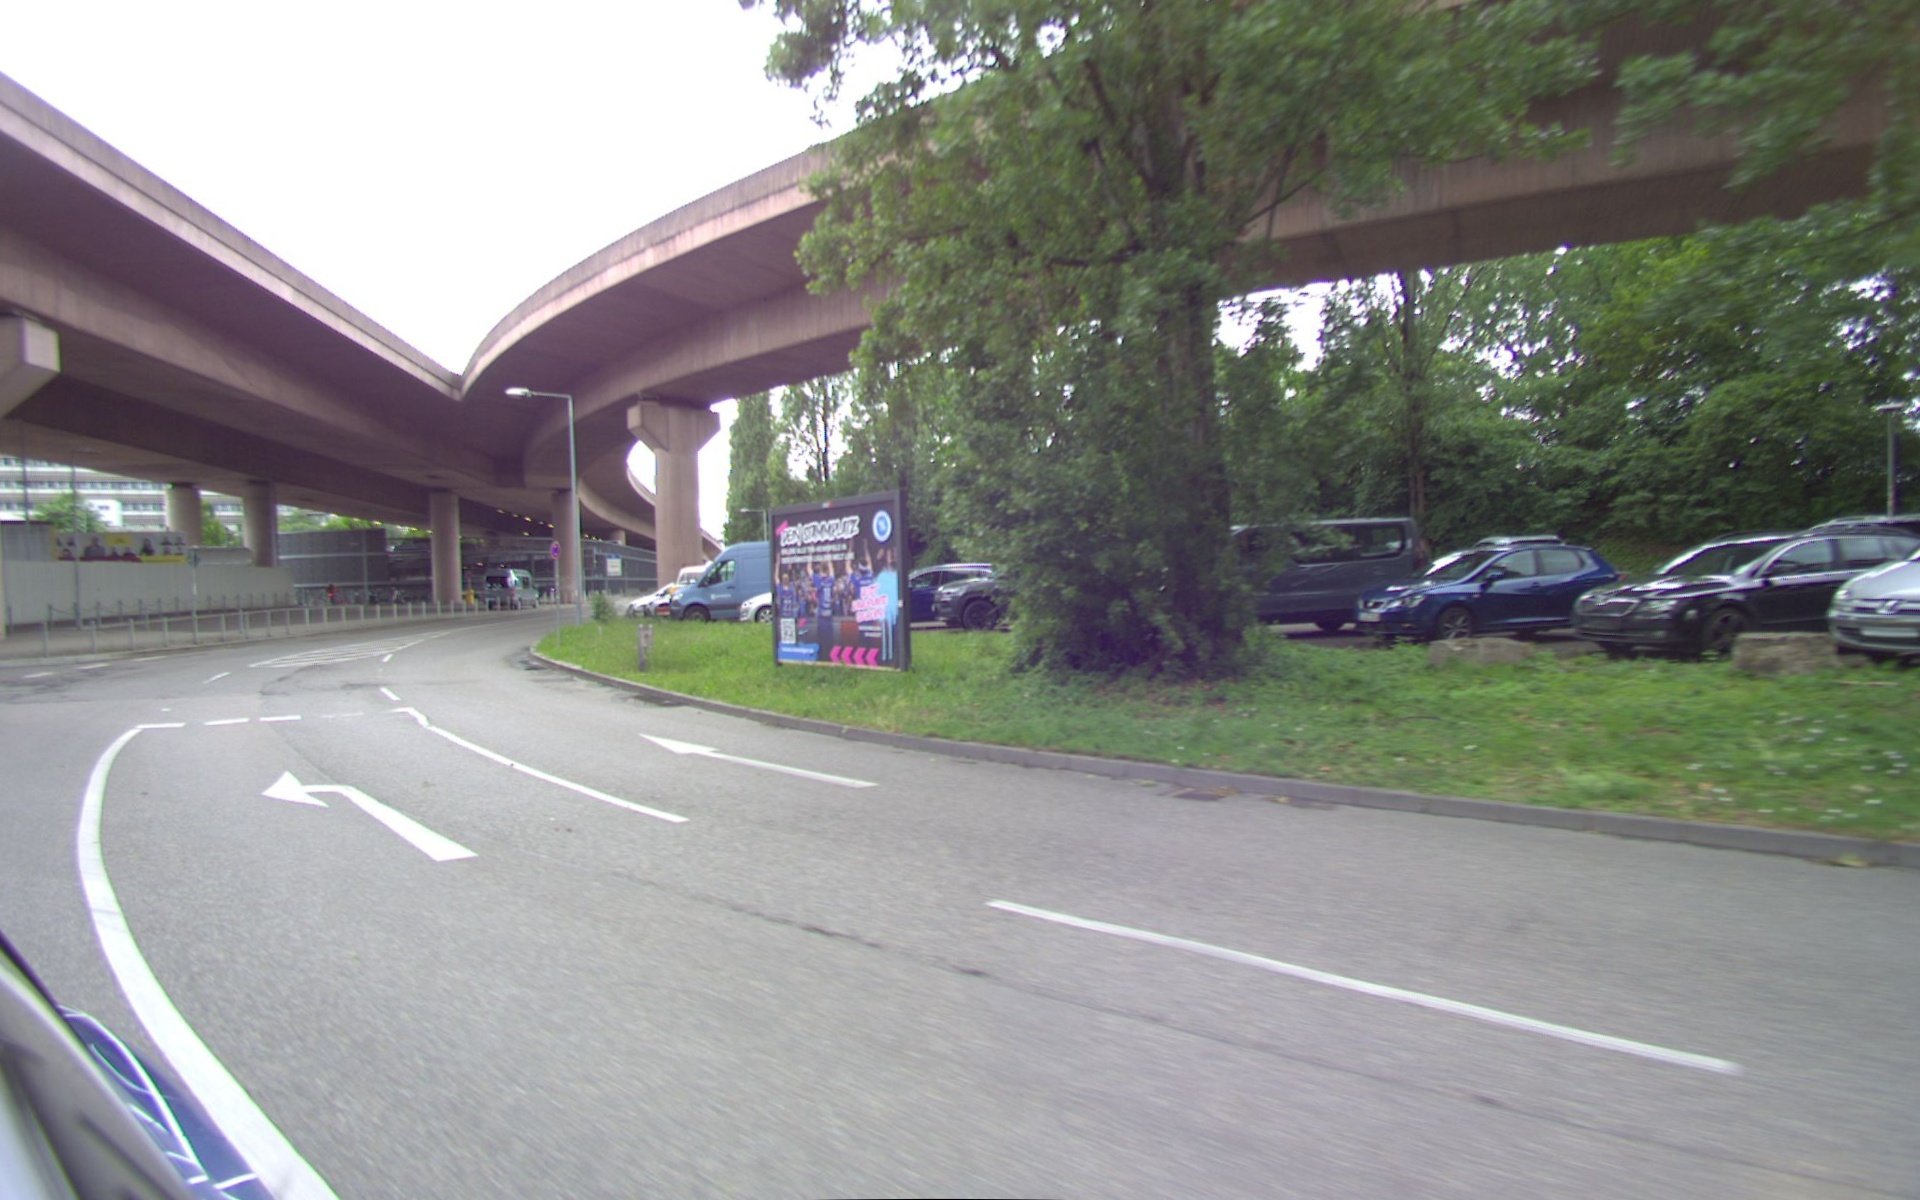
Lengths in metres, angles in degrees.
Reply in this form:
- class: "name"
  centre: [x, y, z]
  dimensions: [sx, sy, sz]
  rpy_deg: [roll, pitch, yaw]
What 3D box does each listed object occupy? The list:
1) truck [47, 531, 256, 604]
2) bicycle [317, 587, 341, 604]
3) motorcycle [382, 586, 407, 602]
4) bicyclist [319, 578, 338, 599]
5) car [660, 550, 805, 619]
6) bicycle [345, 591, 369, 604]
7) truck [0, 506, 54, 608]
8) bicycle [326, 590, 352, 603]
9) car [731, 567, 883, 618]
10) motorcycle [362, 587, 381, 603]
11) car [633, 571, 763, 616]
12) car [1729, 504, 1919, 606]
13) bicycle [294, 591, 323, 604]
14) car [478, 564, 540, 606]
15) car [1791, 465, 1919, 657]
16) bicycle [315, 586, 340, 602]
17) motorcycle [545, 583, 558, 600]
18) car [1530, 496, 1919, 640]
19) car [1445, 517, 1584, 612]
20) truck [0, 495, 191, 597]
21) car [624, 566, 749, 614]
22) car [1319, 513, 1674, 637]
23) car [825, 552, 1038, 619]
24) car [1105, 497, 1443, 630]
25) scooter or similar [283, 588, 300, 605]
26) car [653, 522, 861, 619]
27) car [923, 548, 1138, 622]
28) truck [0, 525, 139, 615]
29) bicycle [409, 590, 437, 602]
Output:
- class: "truck"
  centre: [-51.780, -1.982, 65.274]
  dimensions: [3.003, 4.335, 10.185]
  rpy_deg: [1, 1, 32]
- class: "bicycle"
  centre: [-42.966, -0.337, 68.958]
  dimensions: [0.791, 1.106, 2.137]
  rpy_deg: [0, 1, -15]
- class: "motorcycle"
  centre: [-44.067, -0.459, 78.889]
  dimensions: [0.772, 1.244, 2.540]
  rpy_deg: [0, -1, -7]
- class: "bicyclist"
  centre: [-42.905, -0.804, 68.756]
  dimensions: [0.785, 1.416, 1.070]
  rpy_deg: [0, 1, -15]
- class: "car"
  centre: [-7.730, -0.543, 34.655]
  dimensions: [4.505, 2.127, 1.851]
  rpy_deg: [-2, 1, -1]
- class: "bicycle"
  centre: [-53.577, -0.205, 89.980]
  dimensions: [1.757, 1.087, 0.438]
  rpy_deg: [-1, 0, -20]
- class: "truck"
  centre: [-45.029, -1.882, 42.739]
  dimensions: [3.136, 4.476, 9.624]
  rpy_deg: [1, 1, 31]
- class: "bicycle"
  centre: [-50.273, -0.254, 81.900]
  dimensions: [1.706, 0.989, 0.438]
  rpy_deg: [-1, 0, -11]
- class: "car"
  centre: [-4.373, -0.239, 29.454]
  dimensions: [4.227, 1.426, 2.003]
  rpy_deg: [0, 1, -5]
- class: "motorcycle"
  centre: [-45.721, -0.379, 78.632]
  dimensions: [0.536, 1.114, 2.334]
  rpy_deg: [-1, -3, -10]
- class: "car"
  centre: [-9.597, -0.260, 37.302]
  dimensions: [4.199, 1.381, 1.999]
  rpy_deg: [-3, 1, 1]
- class: "car"
  centre: [17.199, -0.924, 19.739]
  dimensions: [1.639, 1.724, 4.073]
  rpy_deg: [-3, 3, 8]
- class: "bicycle"
  centre: [-52.535, -0.216, 81.657]
  dimensions: [2.032, 1.031, 0.396]
  rpy_deg: [-1, 0, -4]
- class: "car"
  centre: [-29.735, -0.986, 66.929]
  dimensions: [1.969, 2.632, 6.082]
  rpy_deg: [0, 1, -6]
- class: "car"
  centre: [11.162, -0.371, 10.090]
  dimensions: [4.331, 1.804, 2.019]
  rpy_deg: [0, 1, -8]
- class: "bicycle"
  centre: [-49.286, -0.431, 78.871]
  dimensions: [2.320, 1.114, 0.614]
  rpy_deg: [-3, -3, 30]
- class: "motorcycle"
  centre: [-33.348, -0.665, 82.533]
  dimensions: [0.784, 1.377, 2.136]
  rpy_deg: [0, 0, -27]
- class: "car"
  centre: [9.715, -0.327, 12.478]
  dimensions: [4.302, 1.565, 2.003]
  rpy_deg: [1, -1, -6]
- class: "car"
  centre: [12.910, -0.746, 23.852]
  dimensions: [1.829, 1.814, 4.281]
  rpy_deg: [1, -3, 14]
- class: "truck"
  centre: [-46.728, -2.694, 53.207]
  dimensions: [3.136, 4.961, 9.624]
  rpy_deg: [1, 1, 31]
- class: "car"
  centre: [-10.729, -0.391, 39.905]
  dimensions: [4.337, 1.618, 1.953]
  rpy_deg: [-3, 1, 4]
- class: "car"
  centre: [7.850, -0.315, 14.970]
  dimensions: [4.378, 1.495, 1.815]
  rpy_deg: [3, -1, -9]
- class: "car"
  centre: [-0.736, -0.346, 24.234]
  dimensions: [4.773, 1.499, 2.082]
  rpy_deg: [0, 1, -12]
- class: "car"
  centre: [5.247, -0.638, 17.388]
  dimensions: [5.028, 2.087, 2.263]
  rpy_deg: [-1, 2, -6]
- class: "scooter or similar"
  centre: [-52.990, -0.272, 80.205]
  dimensions: [1.674, 1.228, 0.538]
  rpy_deg: [-3, -4, 32]
- class: "car"
  centre: [-6.323, -0.908, 32.147]
  dimensions: [6.105, 2.745, 2.369]
  rpy_deg: [-2, 1, -2]
- class: "car"
  centre: [1.458, -0.328, 21.945]
  dimensions: [4.381, 1.523, 1.899]
  rpy_deg: [0, 1, -5]
- class: "truck"
  centre: [-45.676, -1.413, 48.093]
  dimensions: [2.889, 4.214, 9.956]
  rpy_deg: [1, 1, 32]
- class: "bicycle"
  centre: [-44.187, -0.301, 83.316]
  dimensions: [1.984, 0.933, 0.420]
  rpy_deg: [-1, 0, -18]
